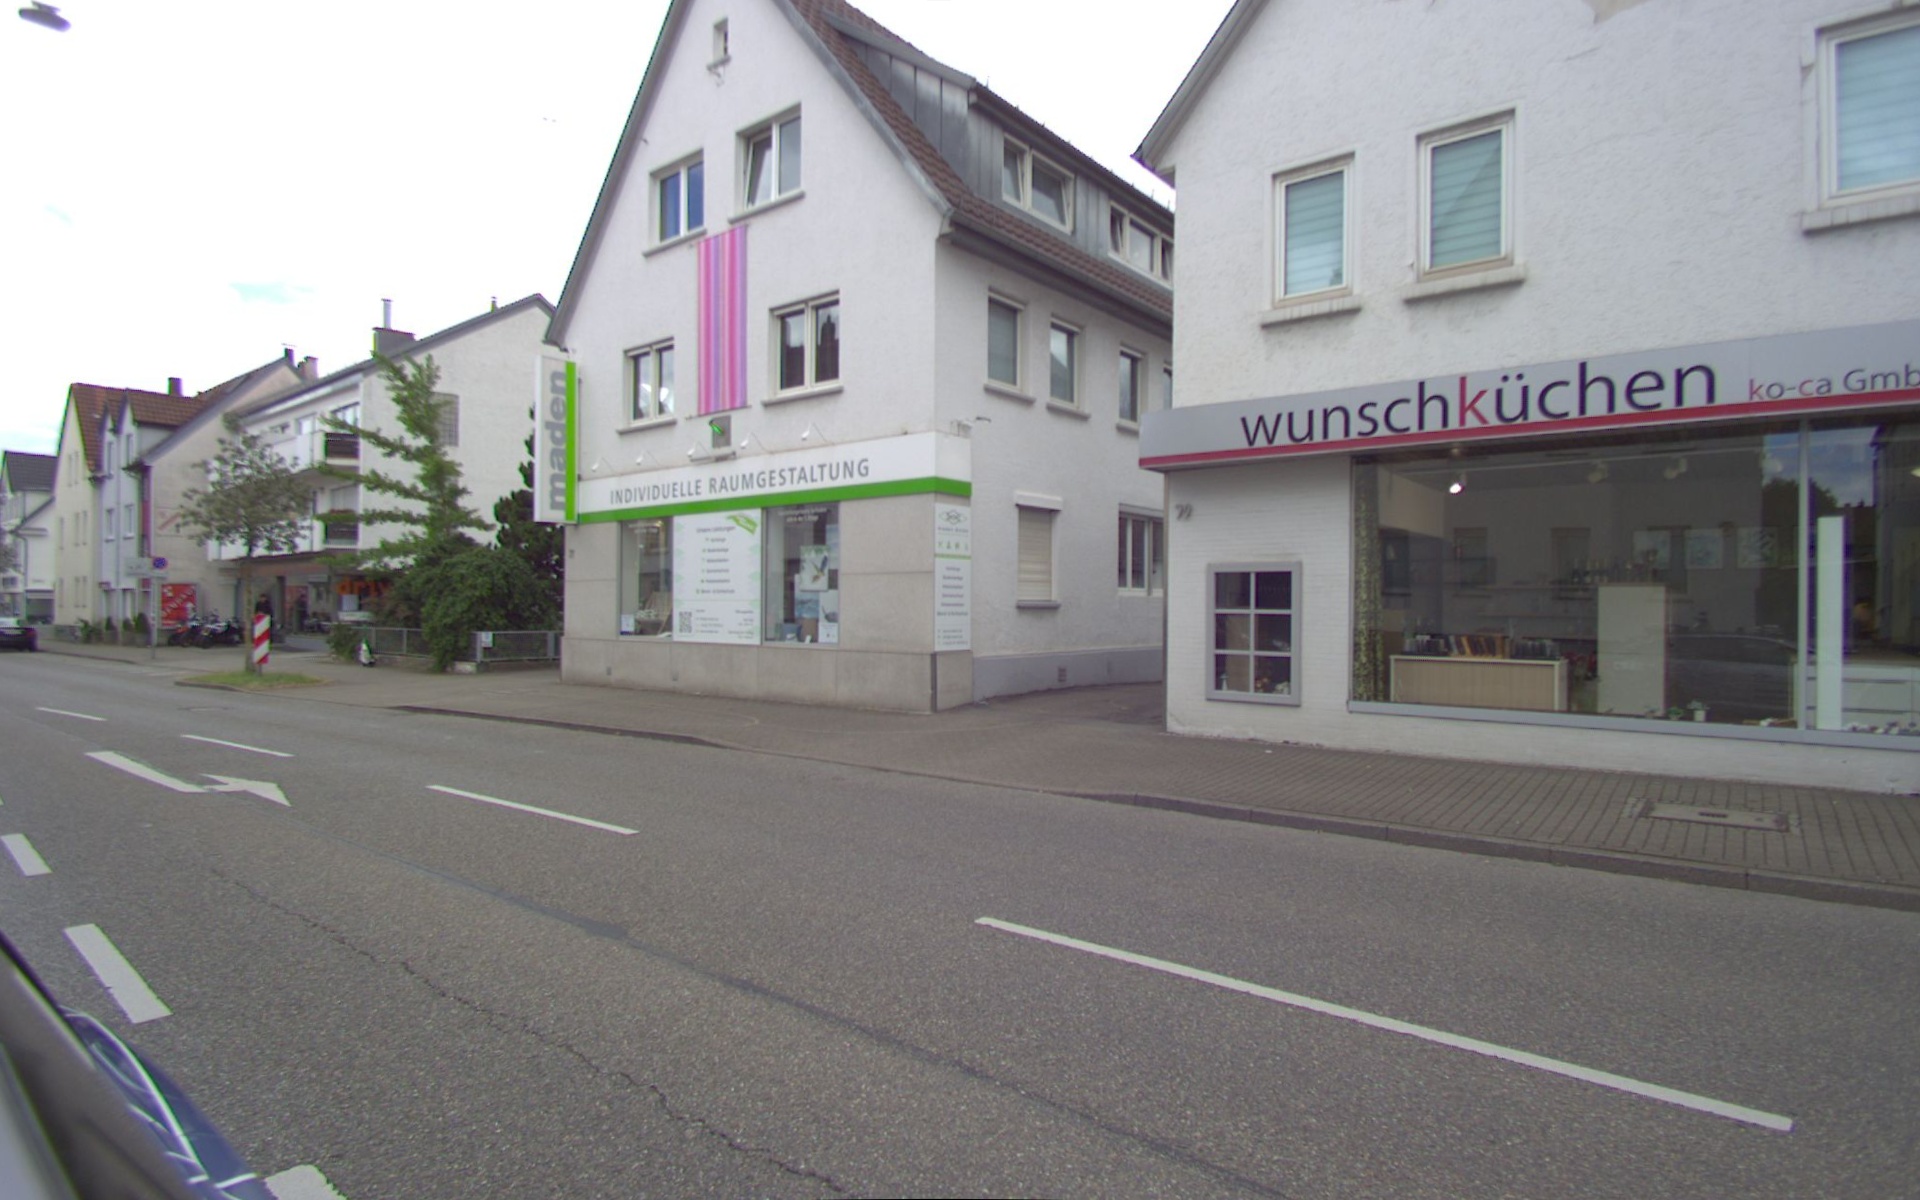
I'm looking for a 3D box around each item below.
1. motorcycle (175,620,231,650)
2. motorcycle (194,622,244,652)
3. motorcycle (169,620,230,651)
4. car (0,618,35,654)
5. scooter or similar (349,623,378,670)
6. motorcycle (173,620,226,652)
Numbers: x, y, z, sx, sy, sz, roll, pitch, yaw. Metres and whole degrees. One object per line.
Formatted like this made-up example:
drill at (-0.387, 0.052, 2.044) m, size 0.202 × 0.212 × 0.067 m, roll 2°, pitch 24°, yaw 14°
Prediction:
motorcycle at (-29.535, 1.354, 39.526) m, size 0.558 × 1.114 × 1.657 m, roll -1°, pitch 1°, yaw 40°
motorcycle at (-27.679, 1.370, 37.819) m, size 0.525 × 1.030 × 1.411 m, roll -1°, pitch 1°, yaw 40°
motorcycle at (-29.136, 1.353, 38.787) m, size 0.504 × 1.114 × 1.811 m, roll -1°, pitch 1°, yaw 40°
car at (-39.212, 1.452, 41.161) m, size 3.993 × 1.423 × 1.614 m, roll -1°, pitch -2°, yaw 37°
scooter or similar at (-15.056, 1.158, 25.532) m, size 0.458 × 1.132 × 1.832 m, roll 0°, pitch -1°, yaw -35°
motorcycle at (-28.557, 1.349, 38.016) m, size 1.494 × 1.114 × 0.590 m, roll -2°, pitch 1°, yaw -44°
